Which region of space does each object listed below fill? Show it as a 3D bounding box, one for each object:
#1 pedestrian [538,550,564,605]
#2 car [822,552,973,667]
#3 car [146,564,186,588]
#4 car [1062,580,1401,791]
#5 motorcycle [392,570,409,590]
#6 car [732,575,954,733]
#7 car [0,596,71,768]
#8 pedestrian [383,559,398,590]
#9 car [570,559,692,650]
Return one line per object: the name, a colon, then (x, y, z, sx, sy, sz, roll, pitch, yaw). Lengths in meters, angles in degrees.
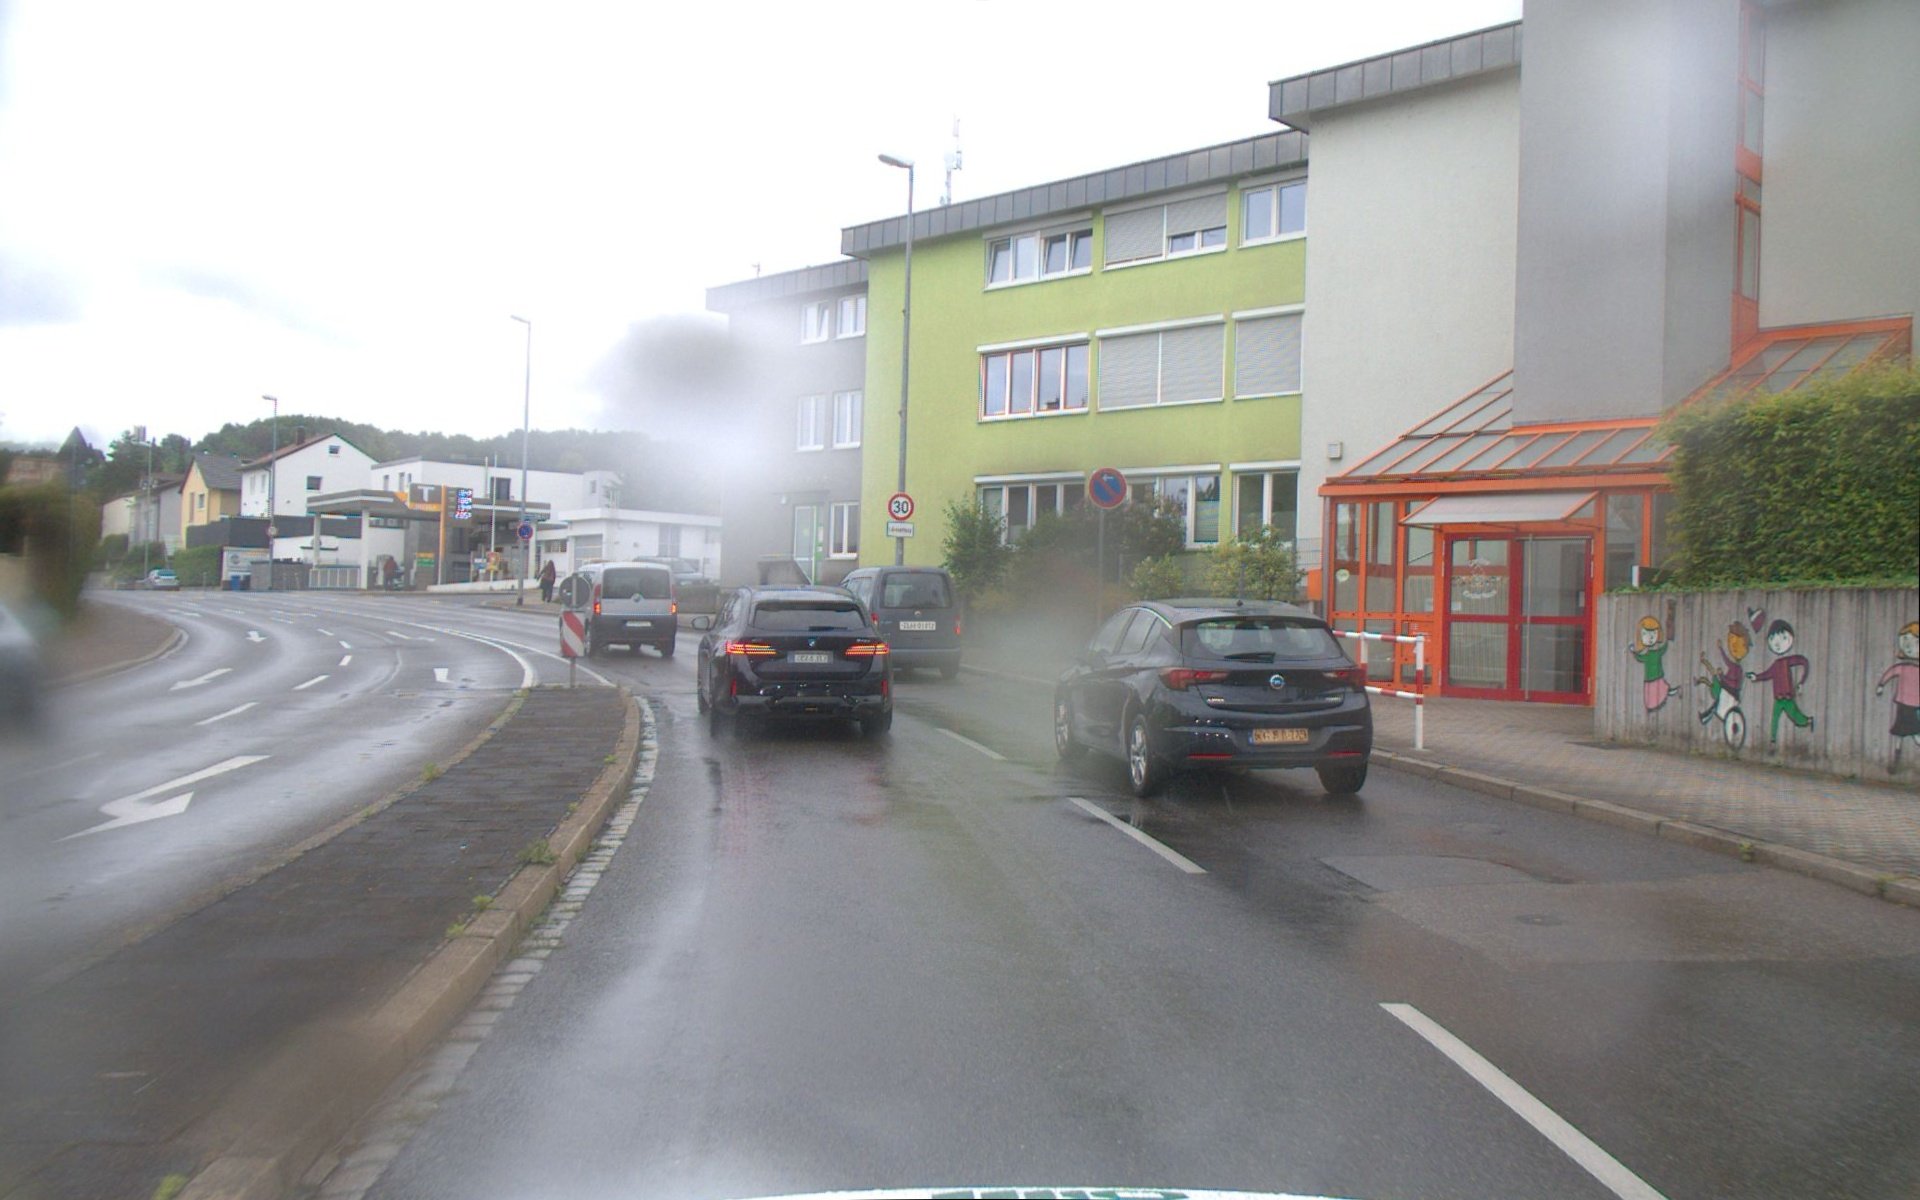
pedestrian: (-15.444, -0.855, 62.493, 0.603, 2.049, 0.714, 0, -1, 39)
car: (-1.144, 0.182, 28.195, 1.807, 1.798, 3.985, 1, -1, -14)
car: (-55.120, -1.662, 114.727, 1.687, 1.536, 4.475, 1, -1, -36)
car: (2.055, 0.624, 13.690, 1.723, 1.475, 3.994, 1, -1, -7)
motorcycle: (-30.372, -1.095, 89.781, 0.458, 1.074, 1.373, 1, -1, -35)
car: (-1.383, 0.550, 17.892, 1.958, 1.510, 3.989, 1, -1, -11)
car: (-8.935, 0.685, 13.221, 1.644, 1.475, 4.680, 1, -1, -8)
pedestrian: (-30.878, -1.386, 89.666, 0.605, 1.685, 0.578, 1, -1, -36)
car: (-6.878, 0.121, 34.280, 1.963, 1.768, 3.978, 1, -1, -19)
